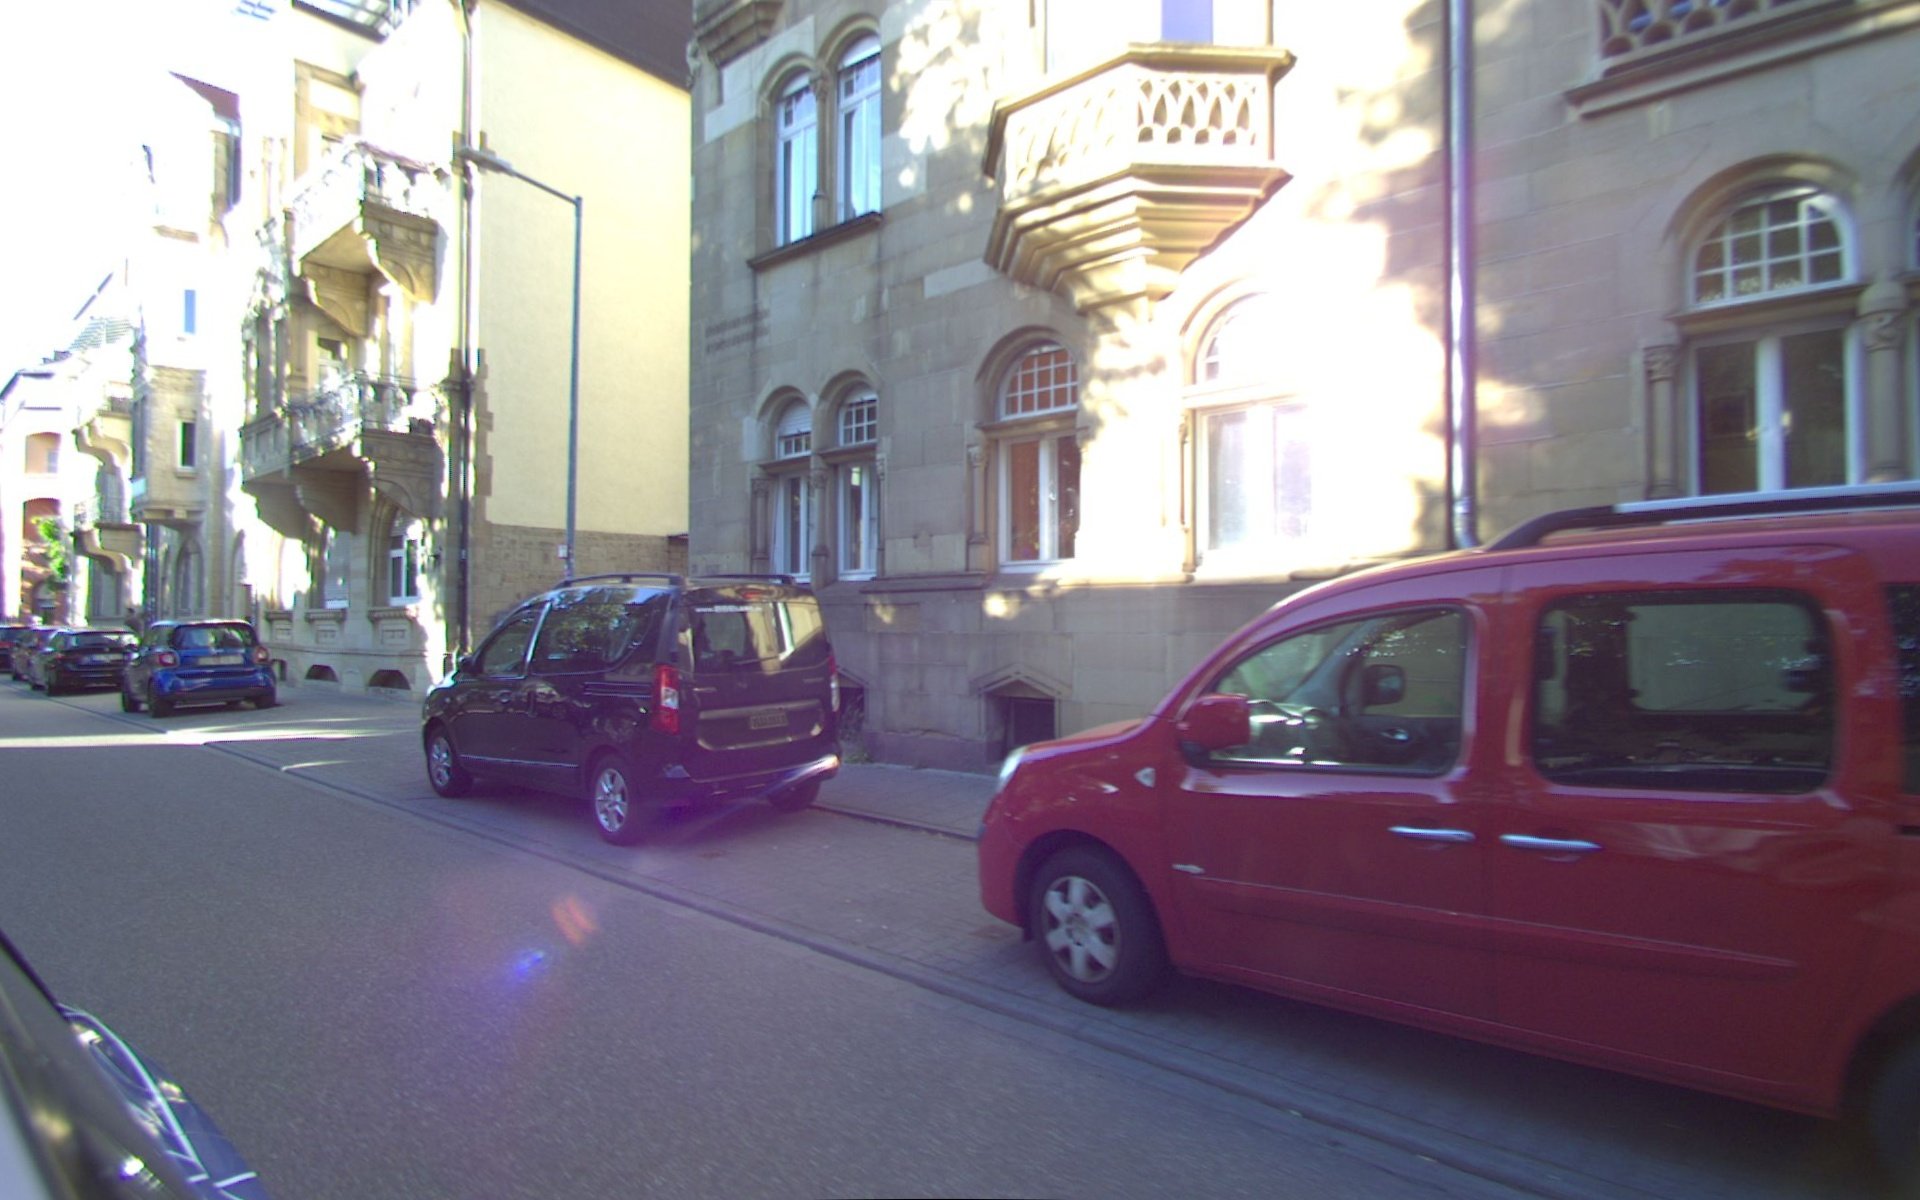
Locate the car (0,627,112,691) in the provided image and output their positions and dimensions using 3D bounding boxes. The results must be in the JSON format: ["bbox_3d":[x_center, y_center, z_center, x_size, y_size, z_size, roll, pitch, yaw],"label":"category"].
[{"bbox_3d":[-23.996,1.509,26.780,3.769,1.477,1.673,-2,2,39],"label":"car"}]

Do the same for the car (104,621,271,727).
[{"bbox_3d":[-12.910,1.159,16.875,2.860,1.520,1.666,-2,1,41],"label":"car"}]

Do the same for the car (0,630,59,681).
[{"bbox_3d":[-29.382,1.687,31.387,3.997,1.477,1.724,-2,-1,42],"label":"car"}]

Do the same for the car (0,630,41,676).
[{"bbox_3d":[-33.799,1.856,35.302,4.506,1.468,1.870,-2,1,39],"label":"car"}]

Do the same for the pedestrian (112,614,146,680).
[{"bbox_3d":[-24.081,1.348,29.329,0.497,1.861,0.685,-2,-1,43],"label":"pedestrian"}]

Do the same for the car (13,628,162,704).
[{"bbox_3d":[-19.692,1.407,22.783,4.539,1.450,1.881,-2,1,41],"label":"car"}]

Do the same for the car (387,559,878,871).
[{"bbox_3d":[-2.878,0.746,8.237,4.540,1.866,1.751,-2,-2,42],"label":"car"}]

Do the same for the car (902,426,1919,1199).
[{"bbox_3d":[1.955,0.586,3.680,4.323,1.921,1.779,-2,-1,42],"label":"car"}]
